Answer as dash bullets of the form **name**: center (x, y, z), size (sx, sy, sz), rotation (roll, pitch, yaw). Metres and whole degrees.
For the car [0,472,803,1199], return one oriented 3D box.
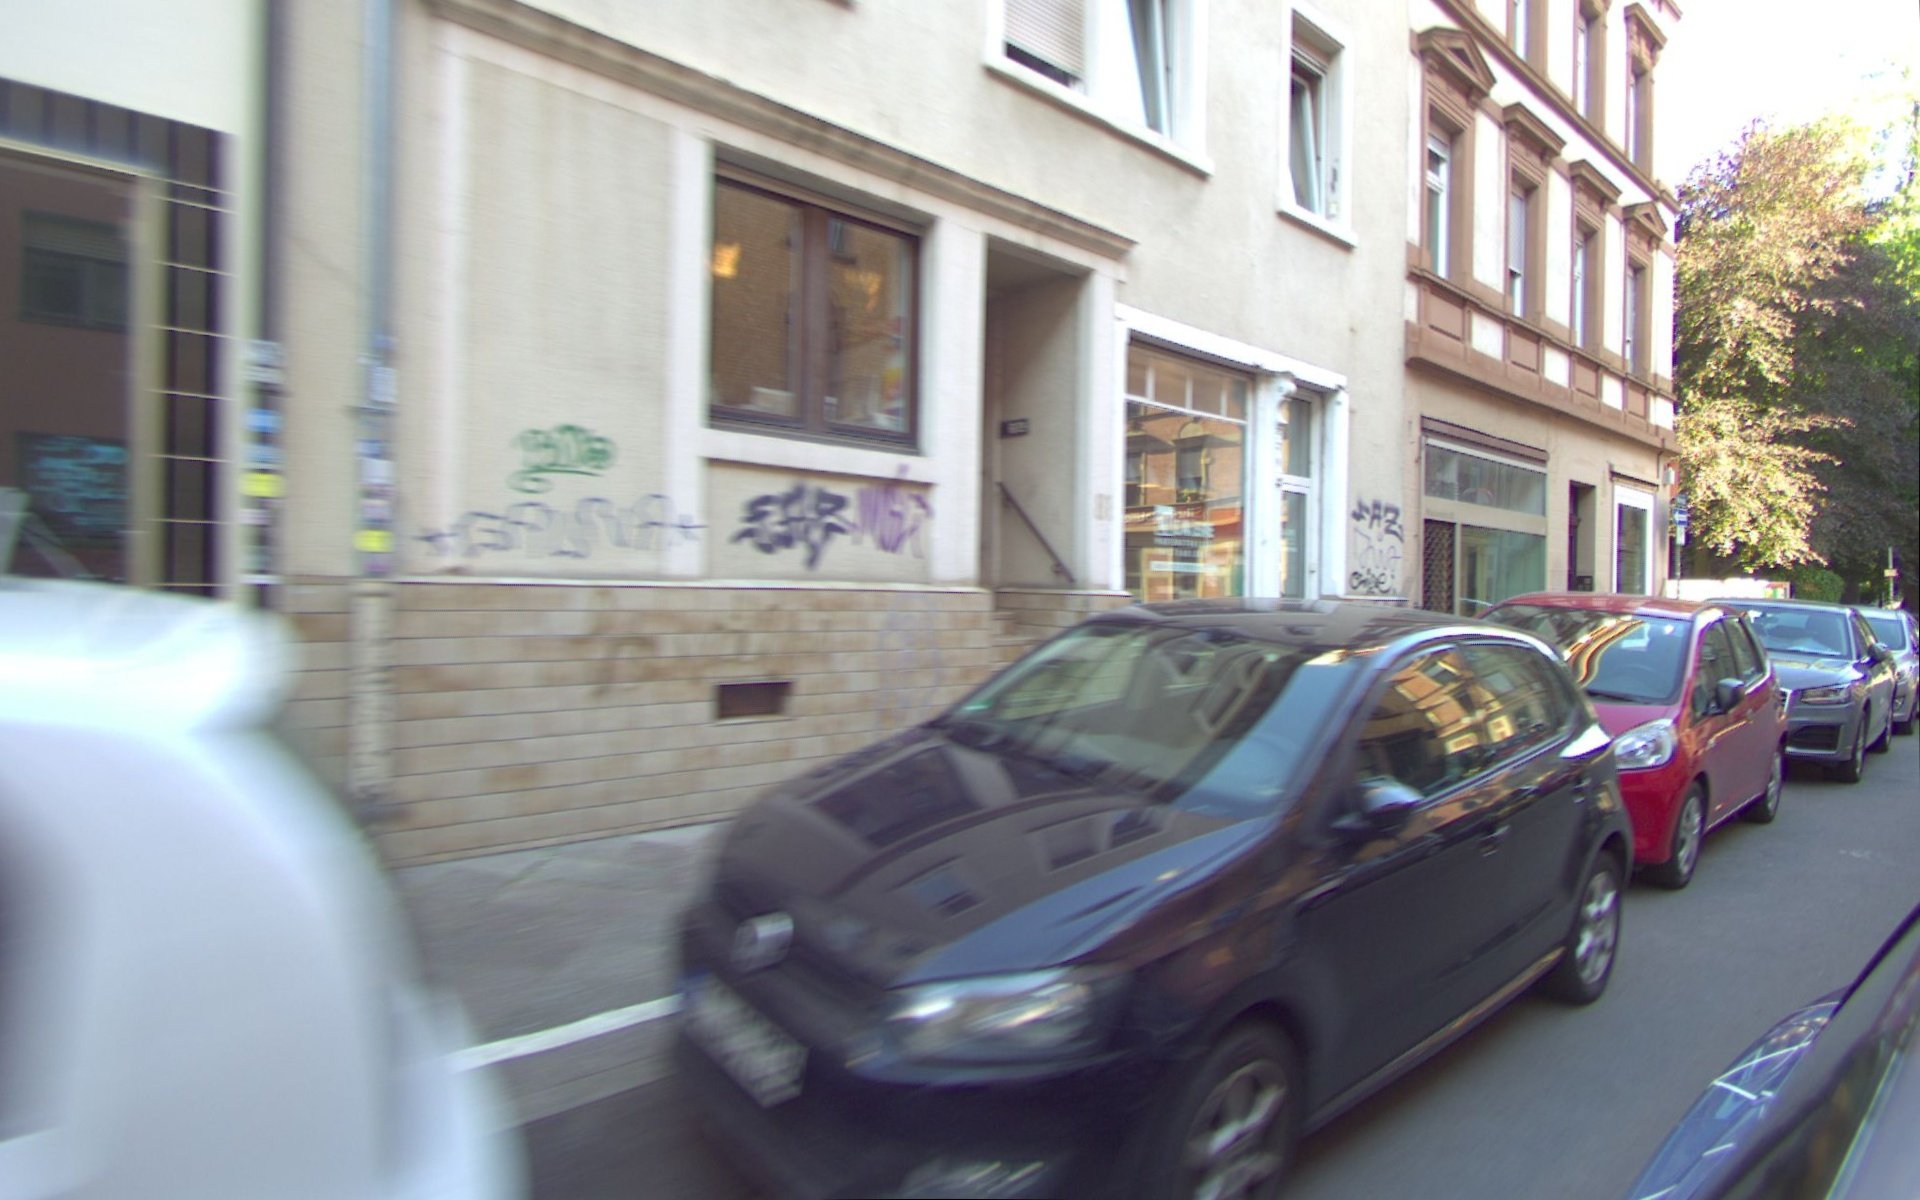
- **car**: center (-2.230, 0.611, 0.748), size (3.869, 1.525, 1.679), rotation (0, 2, -42)

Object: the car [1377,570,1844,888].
- **car**: center (4.637, 0.624, 6.942), size (4.112, 1.525, 1.601), rotation (0, 2, -42)

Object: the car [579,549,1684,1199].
- **car**: center (0.939, 0.666, 3.495), size (3.869, 1.525, 1.679), rotation (0, 2, -42)

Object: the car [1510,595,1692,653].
- **car**: center (17.900, 0.614, 28.397), size (1.765, 1.457, 3.931), rotation (-2, 1, -36)

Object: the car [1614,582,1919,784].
- **car**: center (8.038, 0.648, 9.924), size (3.952, 1.525, 1.747), rotation (0, 2, -43)

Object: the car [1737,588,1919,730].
- **car**: center (11.842, 0.656, 13.312), size (4.282, 1.525, 1.747), rotation (0, 2, -42)
